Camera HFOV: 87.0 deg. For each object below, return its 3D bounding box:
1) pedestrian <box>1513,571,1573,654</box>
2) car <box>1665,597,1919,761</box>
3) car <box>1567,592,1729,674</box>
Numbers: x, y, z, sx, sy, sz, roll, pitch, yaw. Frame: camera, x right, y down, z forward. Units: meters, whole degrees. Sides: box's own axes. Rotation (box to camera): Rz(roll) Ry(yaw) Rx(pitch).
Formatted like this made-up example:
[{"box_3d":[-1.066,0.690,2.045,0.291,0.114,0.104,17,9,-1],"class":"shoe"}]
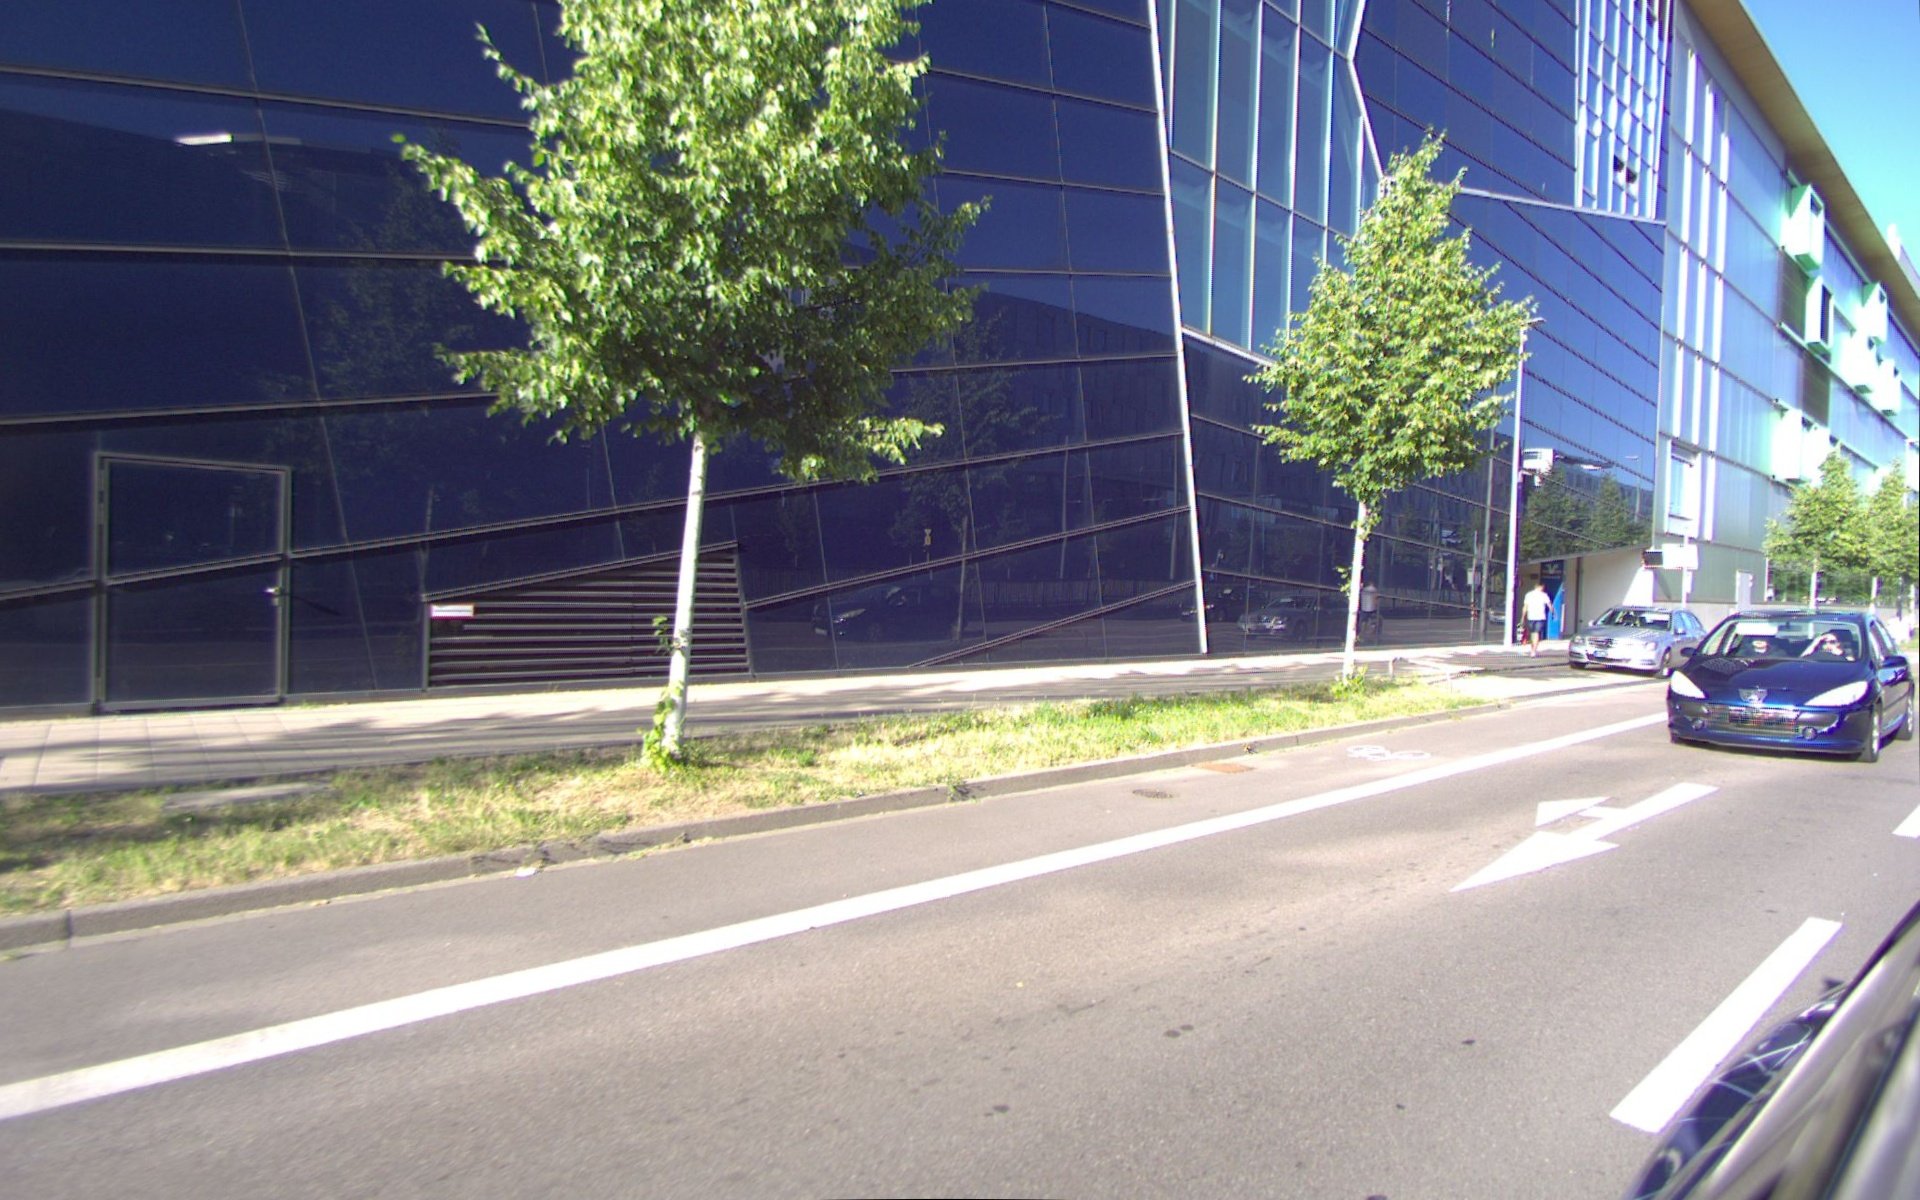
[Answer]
[{"box_3d":[13.721,0.283,23.808,0.889,1.846,0.829,1,4,-41],"class":"pedestrian"},{"box_3d":[9.515,0.746,11.346,3.902,1.497,1.752,1,0,-41],"class":"car"},{"box_3d":[15.103,0.671,22.116,4.633,1.516,1.739,1,3,-41],"class":"car"}]
